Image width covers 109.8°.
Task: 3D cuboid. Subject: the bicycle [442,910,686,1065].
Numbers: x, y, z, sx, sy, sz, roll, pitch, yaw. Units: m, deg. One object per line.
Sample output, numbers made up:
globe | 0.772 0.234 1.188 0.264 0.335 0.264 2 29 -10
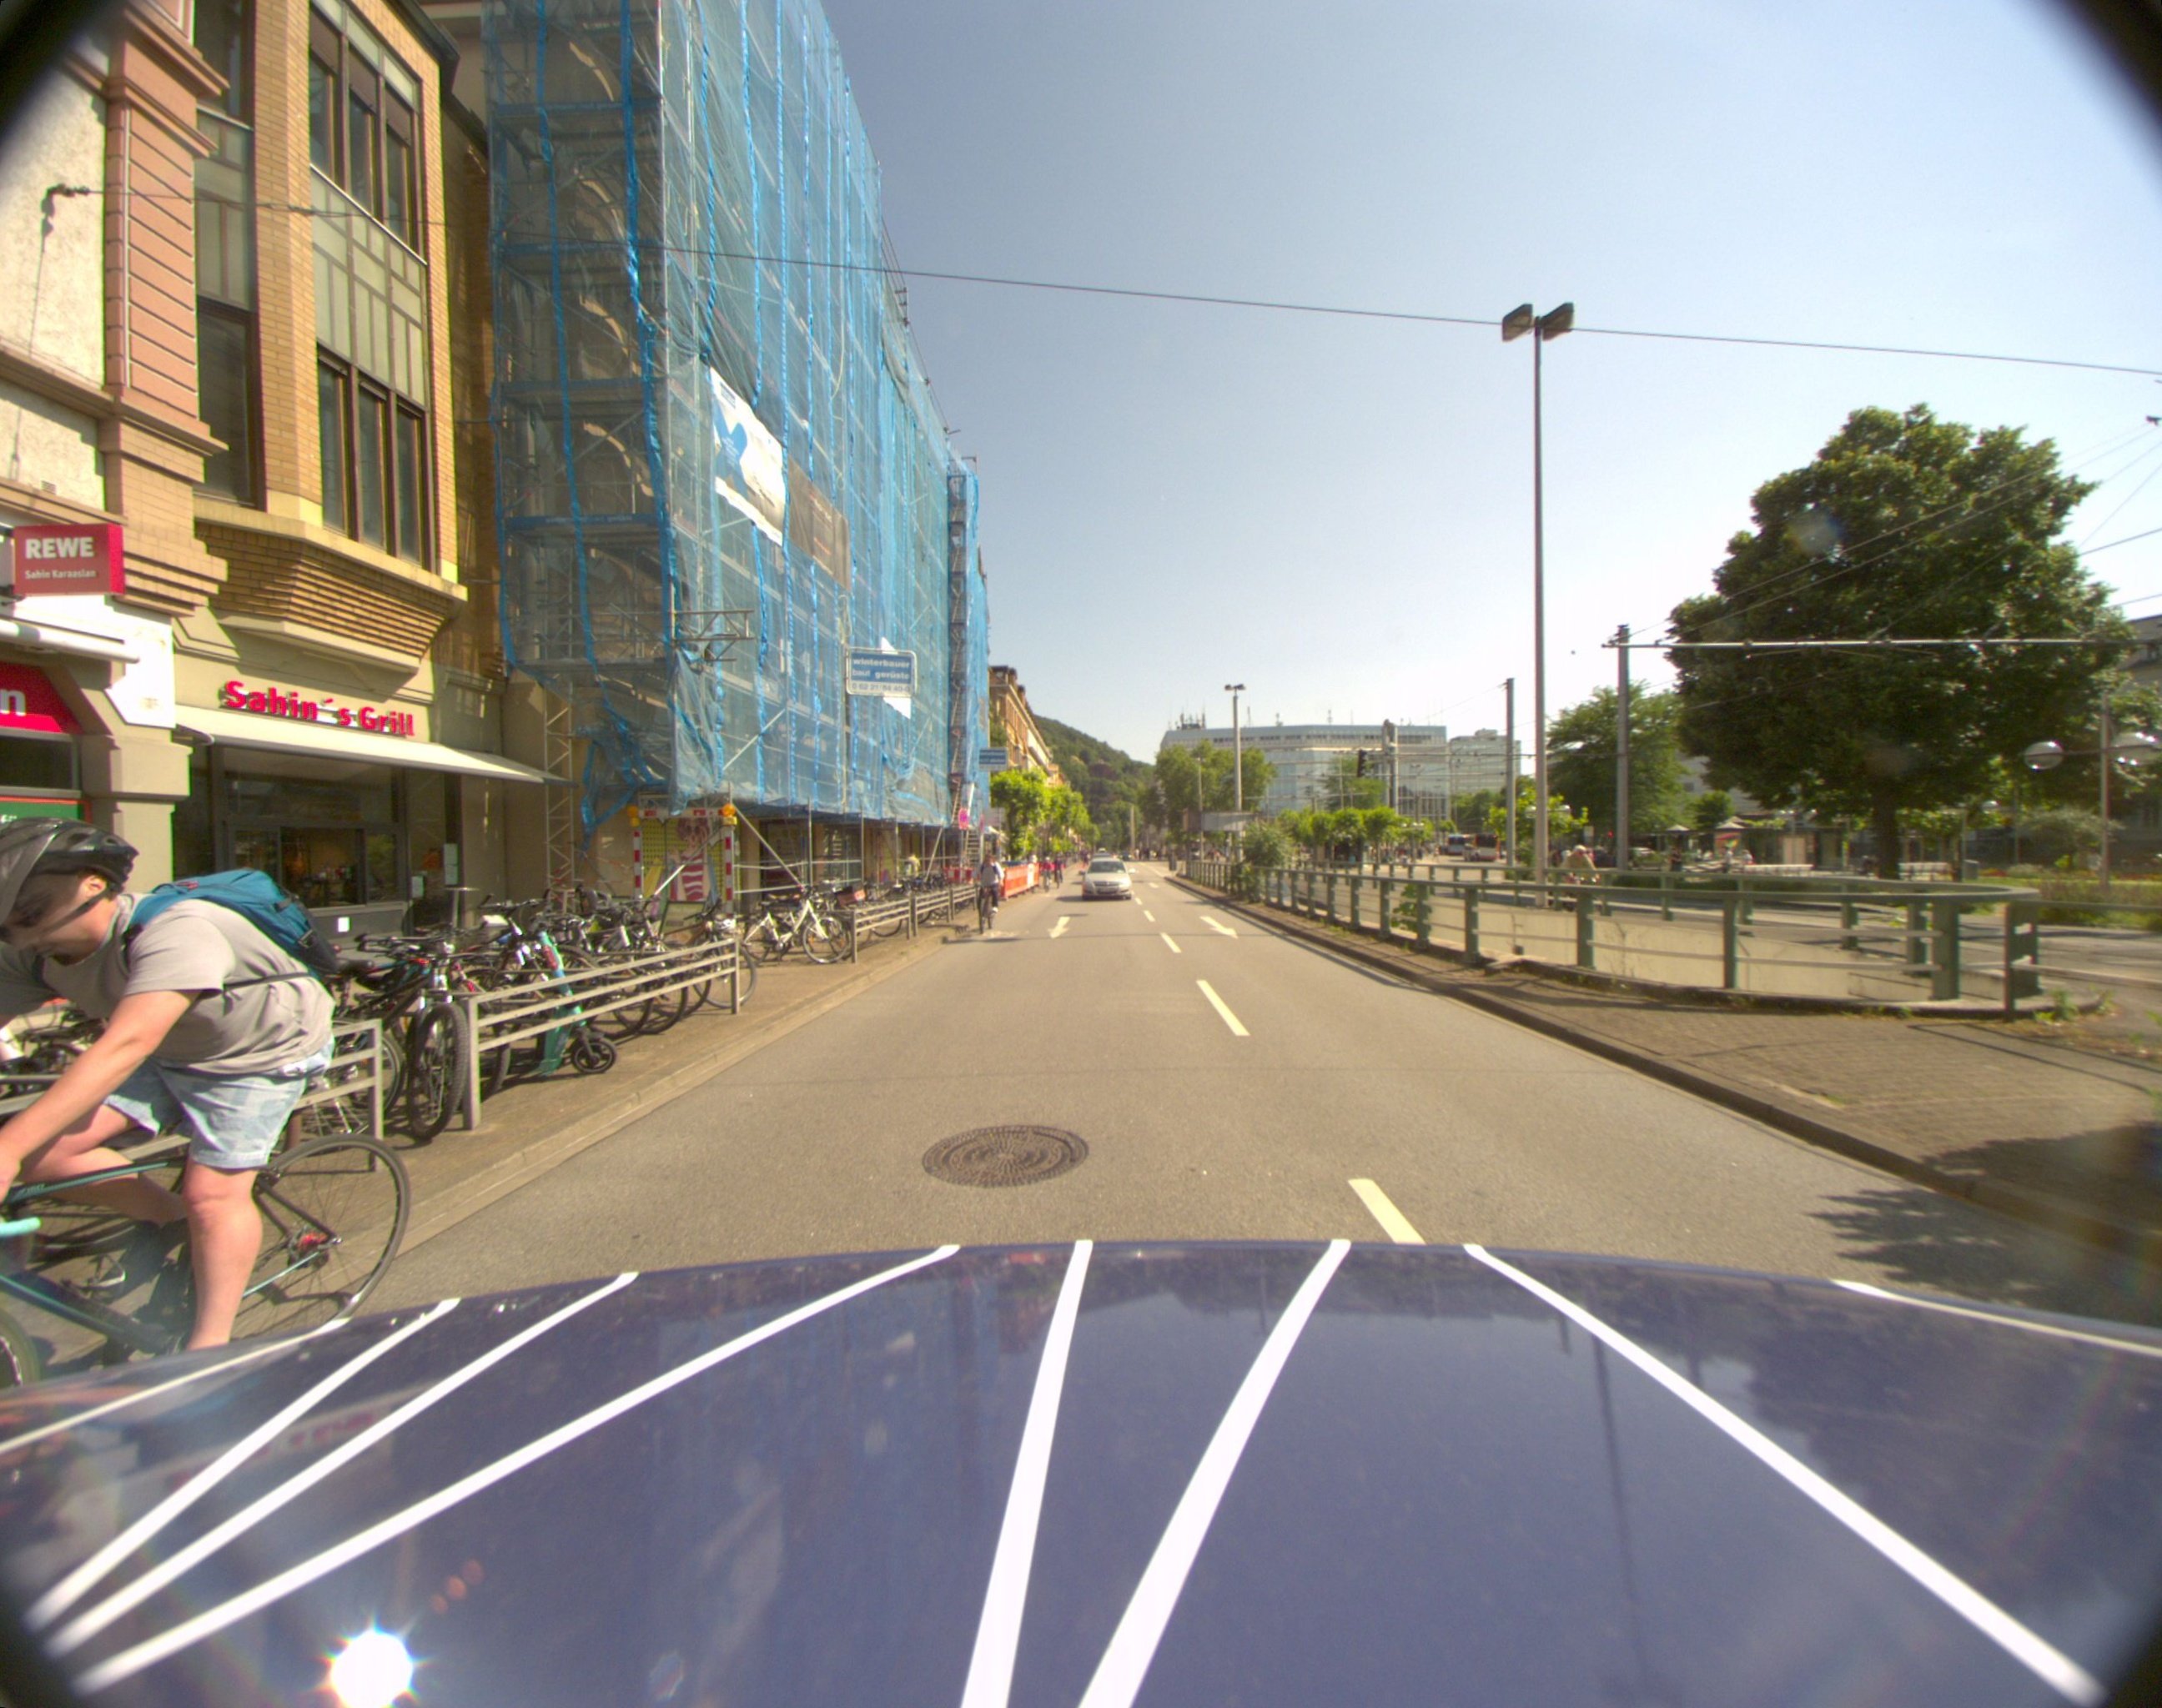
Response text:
bicycle | -4.339 1.110 6.431 1.697 1.172 0.490 -2 1 3

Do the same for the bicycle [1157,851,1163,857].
bicycle | 16.244 0.040 155.983 0.729 1.137 1.914 -3 1 16

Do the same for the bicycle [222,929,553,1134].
bicycle | -4.416 1.118 4.888 1.697 1.172 0.457 -2 1 3

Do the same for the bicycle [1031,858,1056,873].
bicycle | -2.723 0.844 55.594 1.757 1.012 0.483 -1 1 0

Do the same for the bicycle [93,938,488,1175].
bicycle | -4.434 1.119 4.320 1.697 1.172 0.514 -2 1 3

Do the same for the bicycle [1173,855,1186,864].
bicycle | 13.632 0.798 105.101 1.757 1.140 0.483 -1 1 0

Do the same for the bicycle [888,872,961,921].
bicycle | -4.072 1.107 19.839 1.697 1.172 0.608 -2 1 3

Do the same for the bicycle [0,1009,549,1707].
bicycle | -2.568 1.199 2.013 0.736 1.086 2.130 -3 1 1

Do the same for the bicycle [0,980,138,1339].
bicycle | -4.580 1.111 2.766 1.697 1.172 0.470 -2 1 2

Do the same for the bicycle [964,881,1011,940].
bicycle | -2.021 1.206 16.664 0.736 1.086 1.897 -3 1 1

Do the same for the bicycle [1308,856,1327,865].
bicycle | 25.256 0.725 81.233 1.871 0.851 0.546 -3 1 -11

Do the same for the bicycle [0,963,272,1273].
bicycle | -4.617 1.120 3.305 1.697 1.172 0.460 -2 1 3

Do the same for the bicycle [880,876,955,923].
bicycle | -4.098 1.139 19.079 1.697 1.091 0.608 -2 1 3

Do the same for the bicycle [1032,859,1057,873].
bicycle | -2.680 0.904 56.204 1.757 1.012 0.483 -1 1 0

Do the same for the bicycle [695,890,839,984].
bicycle | -4.330 1.136 10.542 1.697 1.172 0.608 -2 1 3

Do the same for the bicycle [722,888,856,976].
bicycle | -4.295 1.137 11.225 1.697 1.172 0.608 -2 1 3

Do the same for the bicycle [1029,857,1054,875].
bicycle | -2.783 0.830 53.620 1.757 1.174 0.579 -1 1 0

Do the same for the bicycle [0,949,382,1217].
bicycle | -4.561 1.116 3.799 1.697 1.172 0.459 -2 1 3

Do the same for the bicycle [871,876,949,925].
bicycle | -4.111 1.112 18.347 1.697 1.091 0.608 -2 1 3

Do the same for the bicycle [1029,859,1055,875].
bicycle | -2.774 0.924 54.257 1.757 1.012 0.557 -1 3 0

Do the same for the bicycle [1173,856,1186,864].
bicycle | 13.652 0.814 105.595 1.757 1.140 0.483 -1 1 0

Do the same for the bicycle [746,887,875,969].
bicycle | -4.264 1.155 12.041 1.775 1.172 0.608 -2 1 3

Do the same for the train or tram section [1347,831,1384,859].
train or tram section | 42.973 -1.455 114.463 2.615 3.805 9.536 -2 1 36

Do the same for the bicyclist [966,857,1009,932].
bicyclist | -2.041 0.870 16.672 0.750 1.568 0.778 -3 1 1

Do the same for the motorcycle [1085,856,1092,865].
motorcycle | 0.996 0.876 98.741 0.736 1.086 1.898 -3 1 2

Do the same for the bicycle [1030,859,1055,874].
bicycle | -2.777 0.886 54.919 1.757 1.012 0.587 -1 1 0

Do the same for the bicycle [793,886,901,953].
bicycle | -4.155 1.155 13.567 1.697 1.081 0.608 -2 1 3

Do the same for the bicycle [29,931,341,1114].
bicycle | -6.414 1.190 5.475 1.697 1.172 0.463 -2 1 3

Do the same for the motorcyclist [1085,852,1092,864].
motorcyclist | 0.981 0.505 98.748 0.736 1.446 0.707 -3 1 2

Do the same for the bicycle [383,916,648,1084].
bicycle | -4.359 1.114 5.899 1.697 1.172 0.451 -2 1 3

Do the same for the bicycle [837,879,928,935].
bicycle | -4.237 1.123 16.303 1.743 1.103 0.608 -2 1 3

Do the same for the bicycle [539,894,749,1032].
bicycle | -4.322 1.067 7.580 1.697 1.234 0.608 -2 1 3

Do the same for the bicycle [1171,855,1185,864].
bicycle | 13.572 0.775 106.504 1.865 1.140 0.483 -1 1 0

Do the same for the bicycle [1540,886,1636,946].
bicycle | 10.865 1.298 16.369 0.819 1.114 1.874 2 1 2

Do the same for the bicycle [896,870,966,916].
bicycle | -4.037 1.046 20.520 1.697 1.172 0.608 -2 1 3

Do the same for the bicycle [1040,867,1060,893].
bicycle | -1.371 1.130 33.580 0.736 1.086 1.819 -2 0 1

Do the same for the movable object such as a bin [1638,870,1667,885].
movable object such as a bin | 29.493 1.197 39.210 0.909 0.750 0.800 1 0 2

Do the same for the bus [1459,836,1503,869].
bus | 46.977 -0.261 89.543 3.060 3.400 12.476 -3 1 21

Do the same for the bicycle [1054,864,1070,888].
bicycle | -0.932 1.075 37.440 0.667 1.086 1.897 -3 1 0

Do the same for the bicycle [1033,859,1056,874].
bicycle | -2.506 0.857 51.922 0.659 1.012 1.753 -2 1 -36

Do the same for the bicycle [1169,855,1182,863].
bicycle | 13.743 0.725 110.167 1.757 1.140 0.483 -1 1 0

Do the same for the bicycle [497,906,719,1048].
bicycle | -4.308 1.108 6.969 1.697 1.172 0.497 -2 1 3
